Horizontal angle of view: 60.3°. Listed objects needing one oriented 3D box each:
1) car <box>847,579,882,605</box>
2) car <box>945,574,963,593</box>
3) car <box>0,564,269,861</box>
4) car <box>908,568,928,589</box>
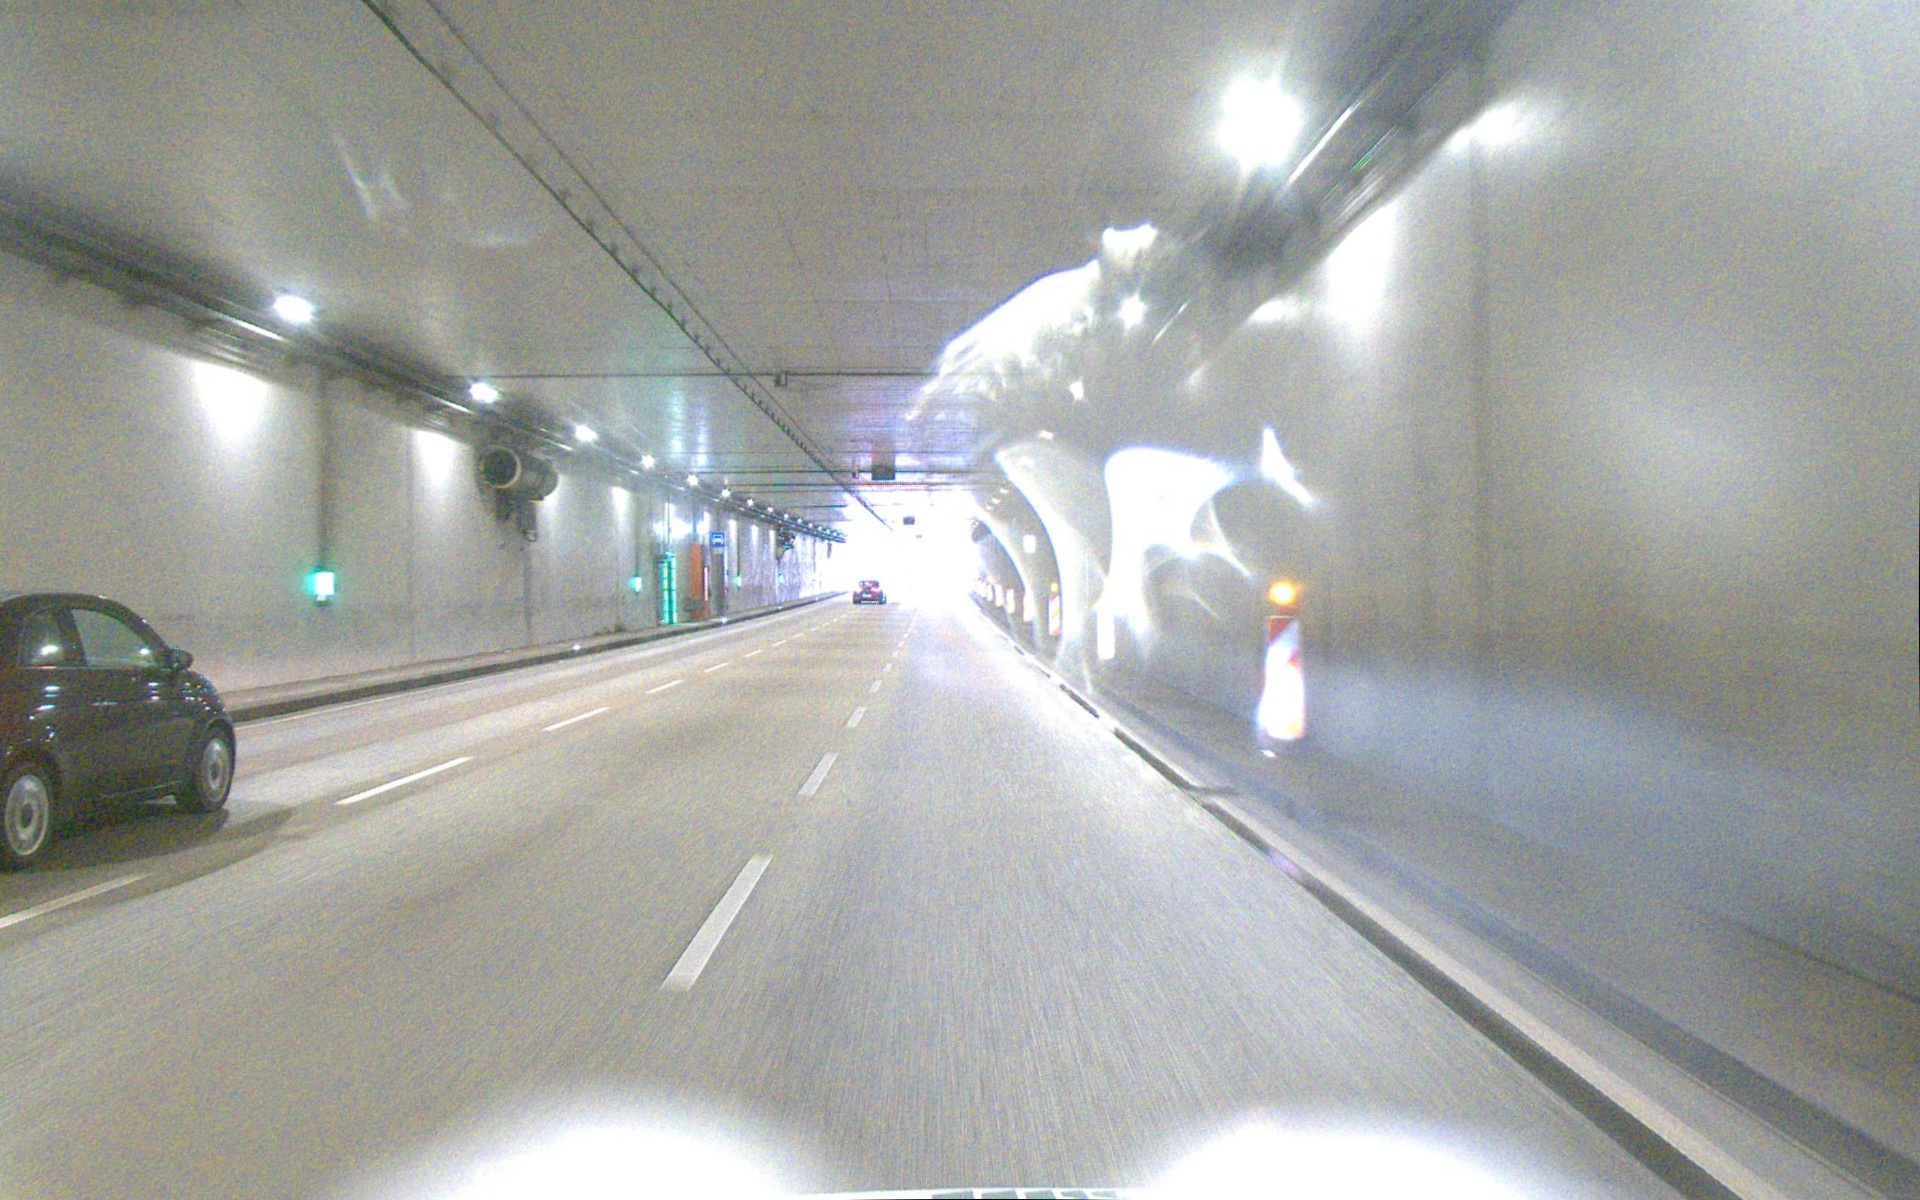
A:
[{"bbox_3d":[-5.835,-0.500,100.843,1.955,1.473,4.310,3,0,-5],"label":"car"},{"bbox_3d":[-0.706,-1.802,184.029,1.953,2.049,3.999,2,0,-1],"label":"car"},{"bbox_3d":[-5.634,0.531,9.883,1.580,1.480,3.571,2,0,-2],"label":"car"},{"bbox_3d":[-4.266,-2.206,169.263,1.953,2.049,3.999,2,0,-1],"label":"car"}]
